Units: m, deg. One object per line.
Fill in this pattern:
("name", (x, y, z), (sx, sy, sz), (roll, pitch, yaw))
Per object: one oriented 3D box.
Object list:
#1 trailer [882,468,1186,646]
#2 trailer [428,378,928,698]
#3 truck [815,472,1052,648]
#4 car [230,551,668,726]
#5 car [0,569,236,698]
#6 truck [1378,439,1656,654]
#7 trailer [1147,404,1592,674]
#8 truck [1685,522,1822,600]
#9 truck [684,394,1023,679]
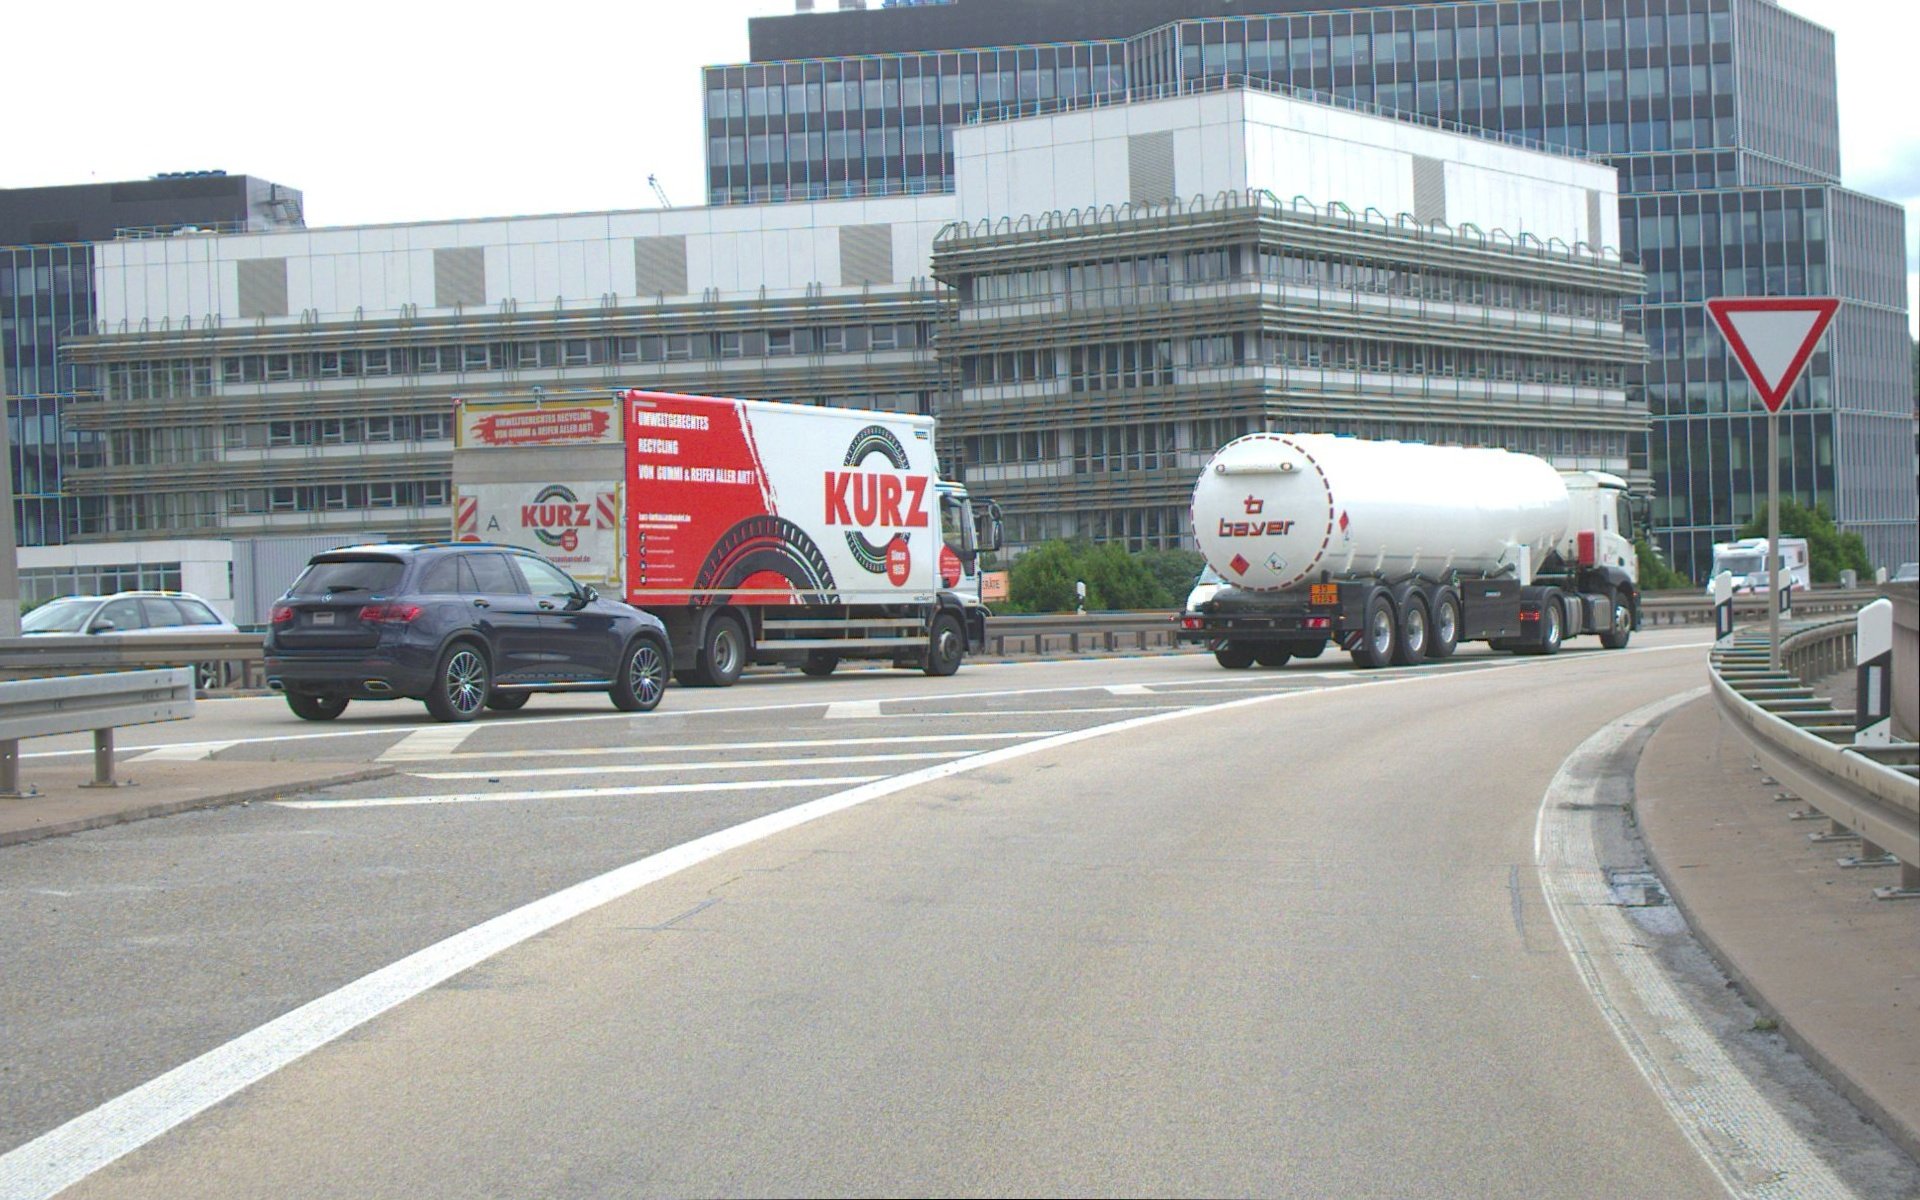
("trailer", (1.789, -0.963, 75.888), (2.738, 3.624, 9.342), (-2, 0, 28))
("trailer", (-3.394, -0.764, 43.675), (2.694, 3.677, 7.302), (-2, 0, 28))
("truck", (-0.492, -0.831, 71.506), (2.746, 3.468, 5.098), (-2, 0, 28))
("car", (-4.725, 0.317, 32.384), (1.849, 1.499, 4.258), (1, 1, 29))
("car", (-11.086, 0.407, 43.415), (1.647, 1.513, 3.833), (-2, 0, 30))
("truck", (9.599, -0.903, 58.743), (2.773, 3.419, 5.956), (-2, 0, 29))
("trailer", (6.633, -0.925, 53.362), (2.796, 3.725, 11.137), (-2, 0, 29))
("truck", (28.314, -1.420, 122.462), (2.495, 2.617, 7.335), (-2, 0, 31))
("truck", (-1.407, -0.849, 47.338), (2.695, 3.677, 4.432), (-2, 0, 29))
